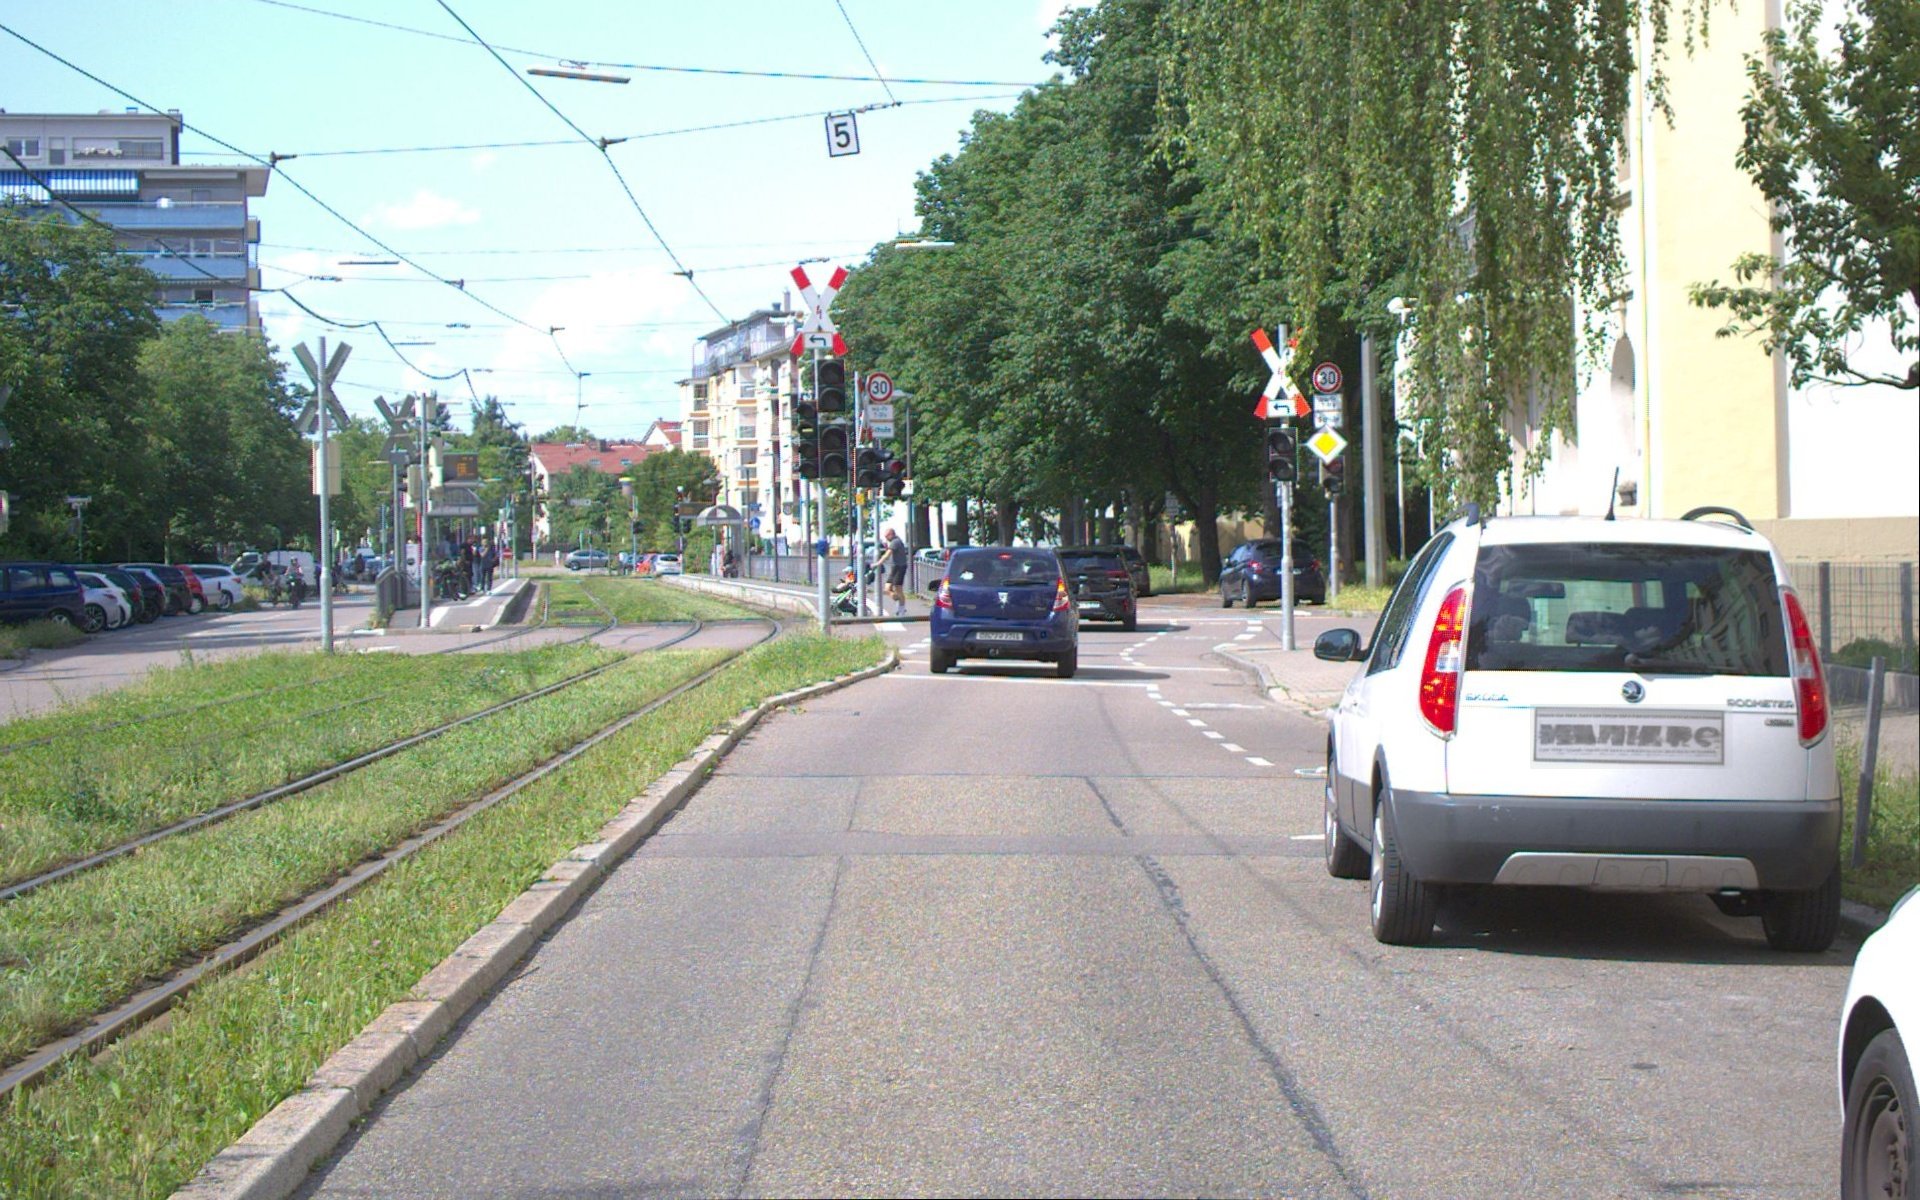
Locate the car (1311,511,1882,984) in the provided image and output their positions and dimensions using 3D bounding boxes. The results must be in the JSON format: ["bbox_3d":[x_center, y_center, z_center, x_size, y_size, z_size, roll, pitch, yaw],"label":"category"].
[{"bbox_3d":[2.443,0.484,14.115,1.721,1.624,4.000,1,1,2],"label":"car"}]

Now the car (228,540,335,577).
[{"bbox_3d":[-27.957,-1.720,141.721,3.989,1.442,1.727,-2,1,-40],"label":"car"}]

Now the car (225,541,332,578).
[{"bbox_3d":[-27.052,-1.601,136.526,1.638,1.381,3.991,0,1,39],"label":"car"}]

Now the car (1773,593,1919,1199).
[{"bbox_3d":[2.610,0.750,5.404,1.672,1.412,3.795,2,1,-1],"label":"car"}]

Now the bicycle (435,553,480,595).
[{"bbox_3d":[-12.604,-0.649,86.241,0.686,0.971,1.771,-3,1,4],"label":"bicycle"}]

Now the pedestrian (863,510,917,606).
[{"bbox_3d":[-1.348,-0.806,65.874,0.870,1.769,1.004,-3,1,-6],"label":"pedestrian"}]

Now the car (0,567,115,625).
[{"bbox_3d":[-21.025,-0.087,77.722,1.543,1.232,3.380,0,2,45],"label":"car"}]

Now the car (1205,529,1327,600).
[{"bbox_3d":[6.477,-0.770,73.170,1.765,1.428,3.905,-2,1,-7],"label":"car"}]

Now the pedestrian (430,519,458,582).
[{"bbox_3d":[-13.923,-1.334,92.731,0.655,1.686,0.656,-2,1,-5],"label":"pedestrian"}]

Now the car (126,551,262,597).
[{"bbox_3d":[-24.807,-0.848,111.447,1.715,1.363,3.990,-1,2,43],"label":"car"}]

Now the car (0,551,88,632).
[{"bbox_3d":[-20.525,-0.163,71.902,1.724,1.635,4.122,0,1,45],"label":"car"}]

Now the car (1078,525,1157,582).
[{"bbox_3d":[4.274,-1.275,93.835,1.861,1.440,4.000,-3,1,-1],"label":"car"}]

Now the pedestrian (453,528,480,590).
[{"bbox_3d":[-14.088,-1.183,98.092,0.604,1.760,0.639,-1,1,3],"label":"pedestrian"}]

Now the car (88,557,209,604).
[{"bbox_3d":[-23.943,-0.592,101.464,1.455,1.305,3.239,0,1,39],"label":"car"}]

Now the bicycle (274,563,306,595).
[{"bbox_3d":[-21.820,-0.687,112.023,0.680,0.967,2.179,-2,1,-2],"label":"bicycle"}]

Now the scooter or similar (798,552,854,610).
[{"bbox_3d":[-2.553,-0.366,65.562,0.954,1.061,0.797,-3,1,-6],"label":"scooter or similar"}]

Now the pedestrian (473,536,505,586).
[{"bbox_3d":[-13.533,-1.125,98.854,0.655,1.421,0.562,-1,1,31],"label":"pedestrian"}]

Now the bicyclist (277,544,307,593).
[{"bbox_3d":[-21.780,-1.025,112.133,0.785,1.576,0.864,-2,1,-3],"label":"bicyclist"}]

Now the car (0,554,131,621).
[{"bbox_3d":[-21.410,-0.302,80.846,3.380,1.500,1.543,-2,1,-44],"label":"car"}]

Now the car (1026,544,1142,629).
[{"bbox_3d":[2.101,-0.256,59.071,1.700,1.363,3.515,2,1,-2],"label":"car"}]

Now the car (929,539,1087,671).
[{"bbox_3d":[0.583,0.025,40.995,1.768,1.457,3.775,1,1,1],"label":"car"}]
